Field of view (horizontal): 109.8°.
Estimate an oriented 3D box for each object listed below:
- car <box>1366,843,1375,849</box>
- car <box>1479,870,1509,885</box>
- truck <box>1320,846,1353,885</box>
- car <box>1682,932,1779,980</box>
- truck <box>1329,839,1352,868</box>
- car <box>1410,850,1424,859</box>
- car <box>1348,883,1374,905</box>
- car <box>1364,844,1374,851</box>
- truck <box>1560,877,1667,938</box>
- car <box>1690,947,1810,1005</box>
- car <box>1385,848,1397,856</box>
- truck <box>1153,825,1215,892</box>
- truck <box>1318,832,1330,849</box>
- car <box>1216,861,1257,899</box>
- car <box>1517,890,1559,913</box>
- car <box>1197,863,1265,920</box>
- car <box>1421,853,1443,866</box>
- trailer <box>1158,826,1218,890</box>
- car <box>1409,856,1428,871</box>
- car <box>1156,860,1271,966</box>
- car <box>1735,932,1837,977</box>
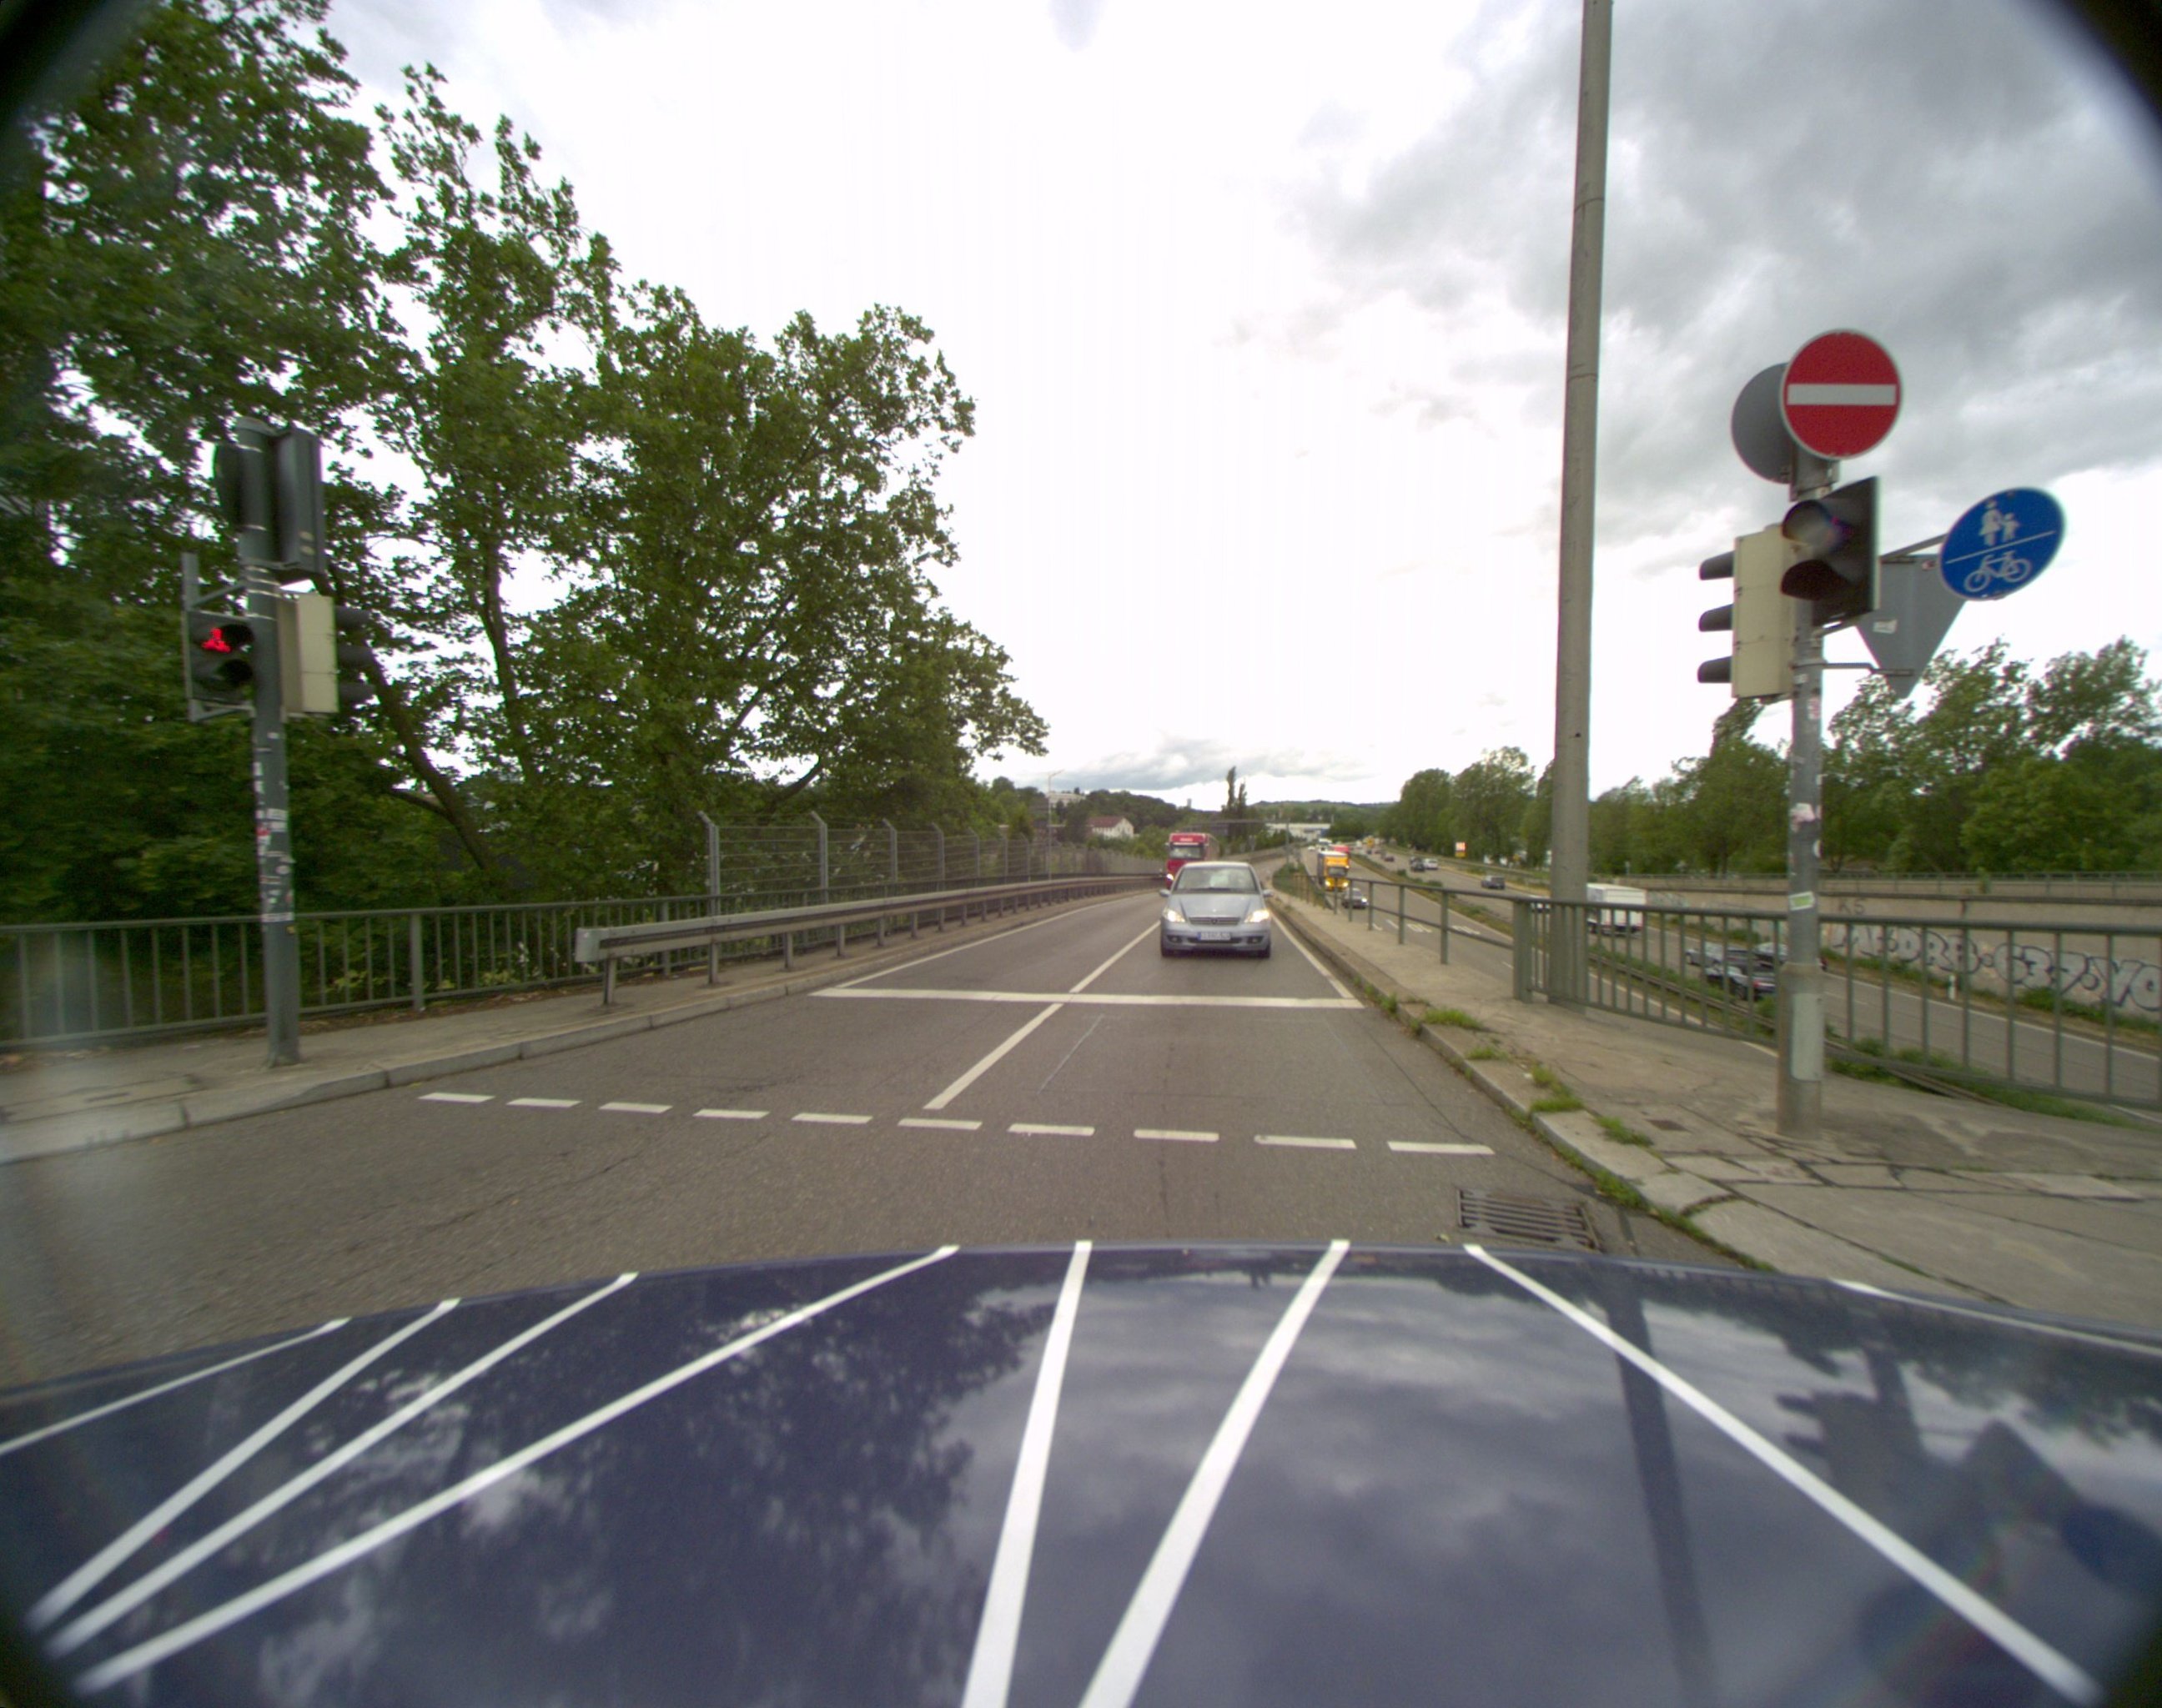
[{"bbox_3d":[83.356,-2.285,218.910,1.996,1.707,3.644,2,1,16],"label":"car"},{"bbox_3d":[51.031,2.924,93.927,1.996,1.609,4.332,1,2,11],"label":"car"},{"bbox_3d":[30.478,1.241,90.936,2.897,4.161,10.032,2,3,14],"label":"truck"},{"bbox_3d":[35.003,5.473,41.142,2.135,1.708,4.428,2,3,14],"label":"car"},{"bbox_3d":[44.148,-0.231,129.470,2.885,4.332,13.269,1,2,16],"label":"truck"},{"bbox_3d":[67.010,0.134,151.573,1.996,1.758,3.487,2,1,16],"label":"car"},{"bbox_3d":[25.715,3.646,69.819,1.876,1.688,3.844,1,2,15],"label":"car"},{"bbox_3d":[75.824,-1.652,200.244,1.996,1.707,3.644,2,1,16],"label":"car"},{"bbox_3d":[38.762,3.743,55.754,3.588,3.437,8.247,2,3,14],"label":"truck"},{"bbox_3d":[30.435,5.492,34.802,2.333,1.707,4.736,-2,2,16],"label":"car"},{"bbox_3d":[67.587,-0.371,165.805,1.996,1.707,3.644,2,1,16],"label":"car"},{"bbox_3d":[7.263,0.329,52.535,3.665,4.296,7.243,-1,0,12],"label":"truck"},{"bbox_3d":[76.015,-4.180,237.847,3.372,4.927,13.950,0,2,16],"label":"truck"},{"bbox_3d":[7.150,1.132,34.658,1.694,1.412,4.470,0,2,13],"label":"car"},{"bbox_3d":[41.138,4.281,68.489,1.996,1.609,4.333,2,2,15],"label":"car"},{"bbox_3d":[4.445,1.033,22.165,1.745,1.455,3.959,-1,0,14],"label":"car"},{"bbox_3d":[61.793,0.951,133.838,2.593,2.002,4.646,2,2,15],"label":"car"},{"bbox_3d":[8.528,0.349,58.645,3.665,4.295,13.796,-1,0,12],"label":"trailer"},{"bbox_3d":[56.251,1.574,126.626,2.221,2.003,4.644,2,4,15],"label":"car"},{"bbox_3d":[2.426,0.935,13.588,1.745,1.594,3.686,-1,0,12],"label":"car"},{"bbox_3d":[38.343,5.421,41.483,2.135,1.557,4.428,2,3,14],"label":"car"}]
